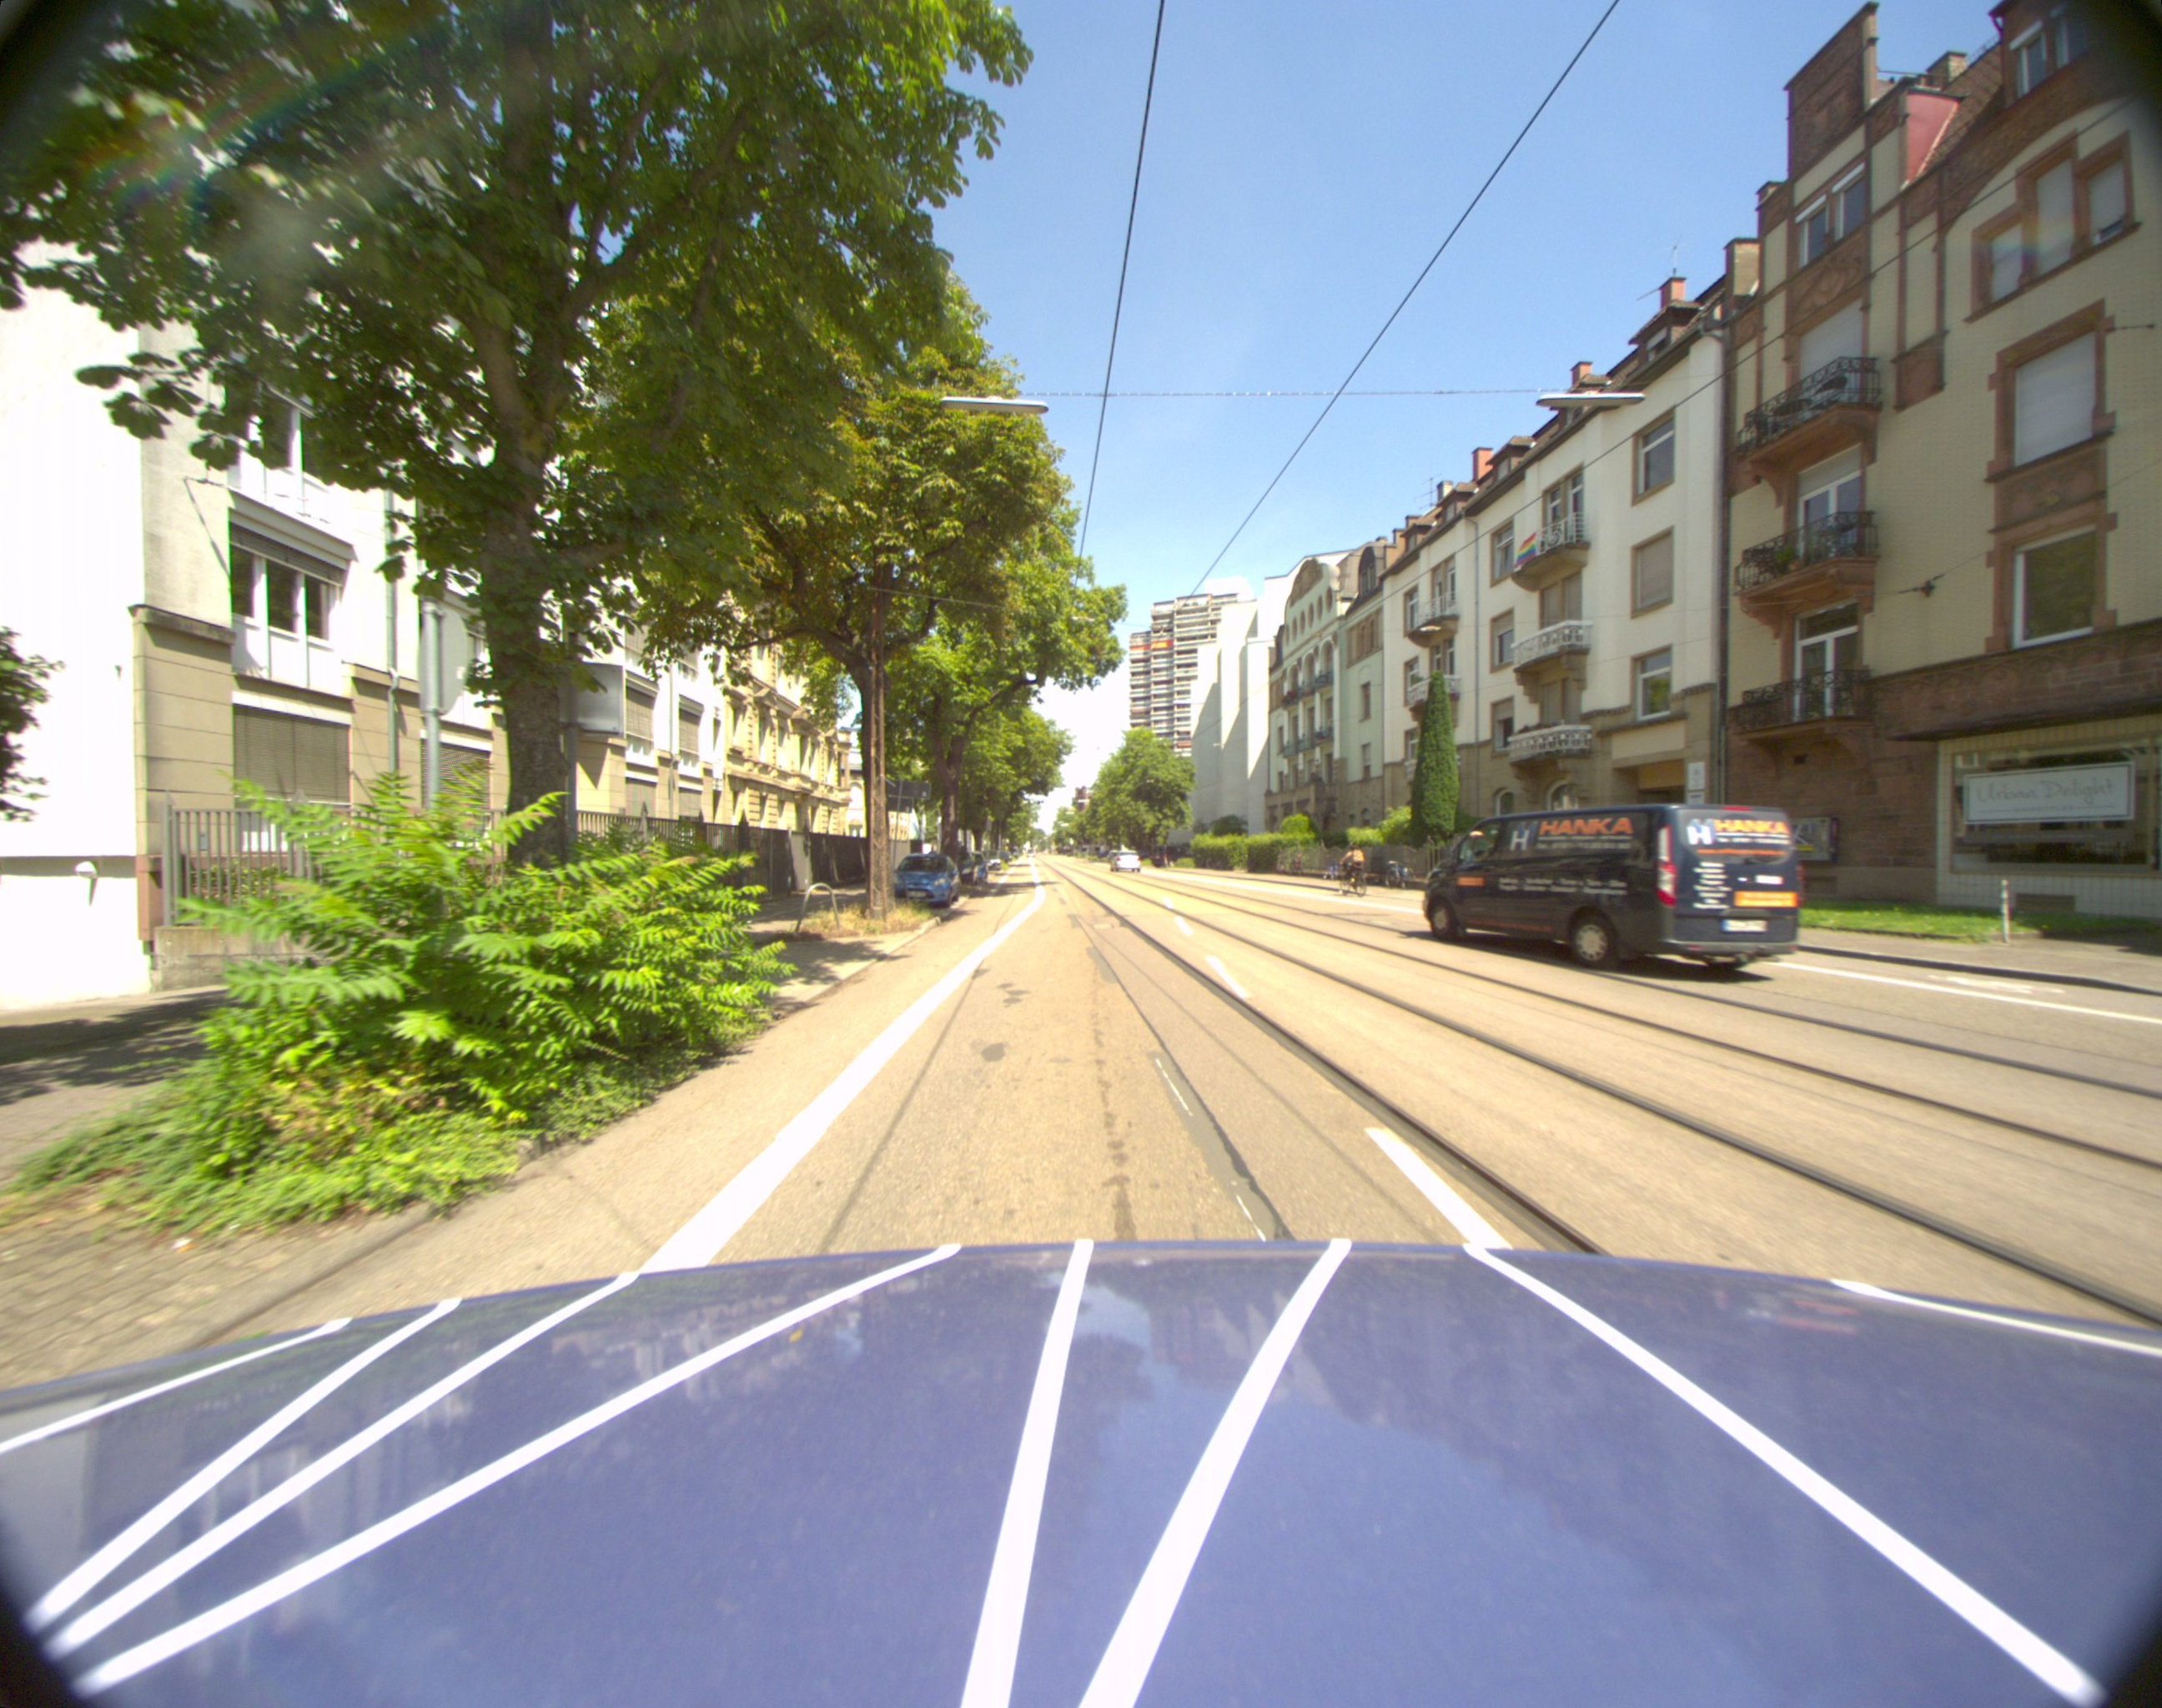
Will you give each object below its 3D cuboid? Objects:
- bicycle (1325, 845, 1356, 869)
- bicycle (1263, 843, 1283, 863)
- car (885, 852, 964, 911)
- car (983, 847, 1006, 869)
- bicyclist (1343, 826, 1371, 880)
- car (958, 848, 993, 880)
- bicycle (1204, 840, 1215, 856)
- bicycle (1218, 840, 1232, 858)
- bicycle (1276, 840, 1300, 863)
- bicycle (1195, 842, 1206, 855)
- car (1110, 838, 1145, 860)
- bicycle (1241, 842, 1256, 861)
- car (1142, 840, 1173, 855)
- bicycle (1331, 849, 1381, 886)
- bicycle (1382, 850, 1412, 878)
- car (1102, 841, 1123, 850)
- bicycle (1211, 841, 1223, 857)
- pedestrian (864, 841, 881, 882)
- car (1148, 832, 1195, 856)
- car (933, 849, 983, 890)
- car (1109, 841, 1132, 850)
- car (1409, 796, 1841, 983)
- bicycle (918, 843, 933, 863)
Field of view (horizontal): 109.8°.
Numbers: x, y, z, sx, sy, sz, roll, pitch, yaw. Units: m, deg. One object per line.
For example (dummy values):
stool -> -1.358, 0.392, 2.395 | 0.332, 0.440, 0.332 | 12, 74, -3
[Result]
bicycle -> 10.620, 0.120, 31.140 | 0.463, 0.943, 1.953 | -1, 1, -4
bicycle -> 9.959, -0.063, 39.451 | 0.400, 0.965, 2.045 | -1, 1, -4
car -> -4.425, 0.718, 22.009 | 1.688, 1.453, 3.997 | 1, 2, -3
car -> -6.648, 0.270, 58.752 | 1.648, 1.587, 4.113 | 1, 0, -5
bicyclist -> 8.650, -0.035, 23.837 | 0.612, 1.654, 0.579 | 0, 2, -5
car -> -5.553, 0.491, 40.346 | 1.615, 1.488, 3.580 | 1, 2, -5
bicycle -> 9.071, -0.407, 53.489 | 0.340, 1.062, 1.727 | -1, 2, -4
bicycle -> 9.378, -0.327, 49.555 | 0.340, 1.157, 1.931 | -1, 2, -4
bicycle -> 10.143, -0.145, 37.288 | 0.493, 1.090, 2.045 | -1, 1, -4
bicycle -> 8.943, -0.400, 56.807 | 0.340, 0.935, 1.727 | -3, 1, -4
car -> 3.082, -0.357, 51.216 | 1.713, 1.404, 3.822 | 1, 2, -6
bicycle -> 9.813, -0.151, 44.631 | 0.290, 1.040, 1.898 | -1, 2, -4
car -> 8.294, -0.704, 81.812 | 1.636, 1.541, 3.815 | 0, 2, 35
bicycle -> 8.624, 0.394, 23.942 | 0.646, 1.068, 2.185 | 0, 1, -5
bicycle -> 10.983, 0.329, 26.439 | 0.253, 0.912, 1.613 | -1, 1, -4
car -> 4.674, -1.312, 112.825 | 1.361, 1.294, 3.316 | 1, 2, 42
bicycle -> 9.234, -0.343, 51.530 | 0.340, 1.062, 1.727 | -1, 2, -4
pedestrian -> -8.744, 0.296, 31.883 | 0.547, 1.683, 0.755 | 0, 2, -5
car -> 7.887, -0.906, 66.047 | 3.915, 1.959, 1.908 | -3, 3, -44
car -> -5.081, 0.603, 31.720 | 1.682, 1.488, 3.916 | 1, 2, -4
car -> 5.669, -1.277, 109.241 | 1.491, 1.259, 3.490 | 1, 2, 42
car -> 6.751, 0.306, 10.327 | 1.850, 1.927, 4.817 | 1, 2, -9
bicycle -> -10.010, -0.052, 48.914 | 0.689, 1.217, 2.117 | -1, 2, -5
